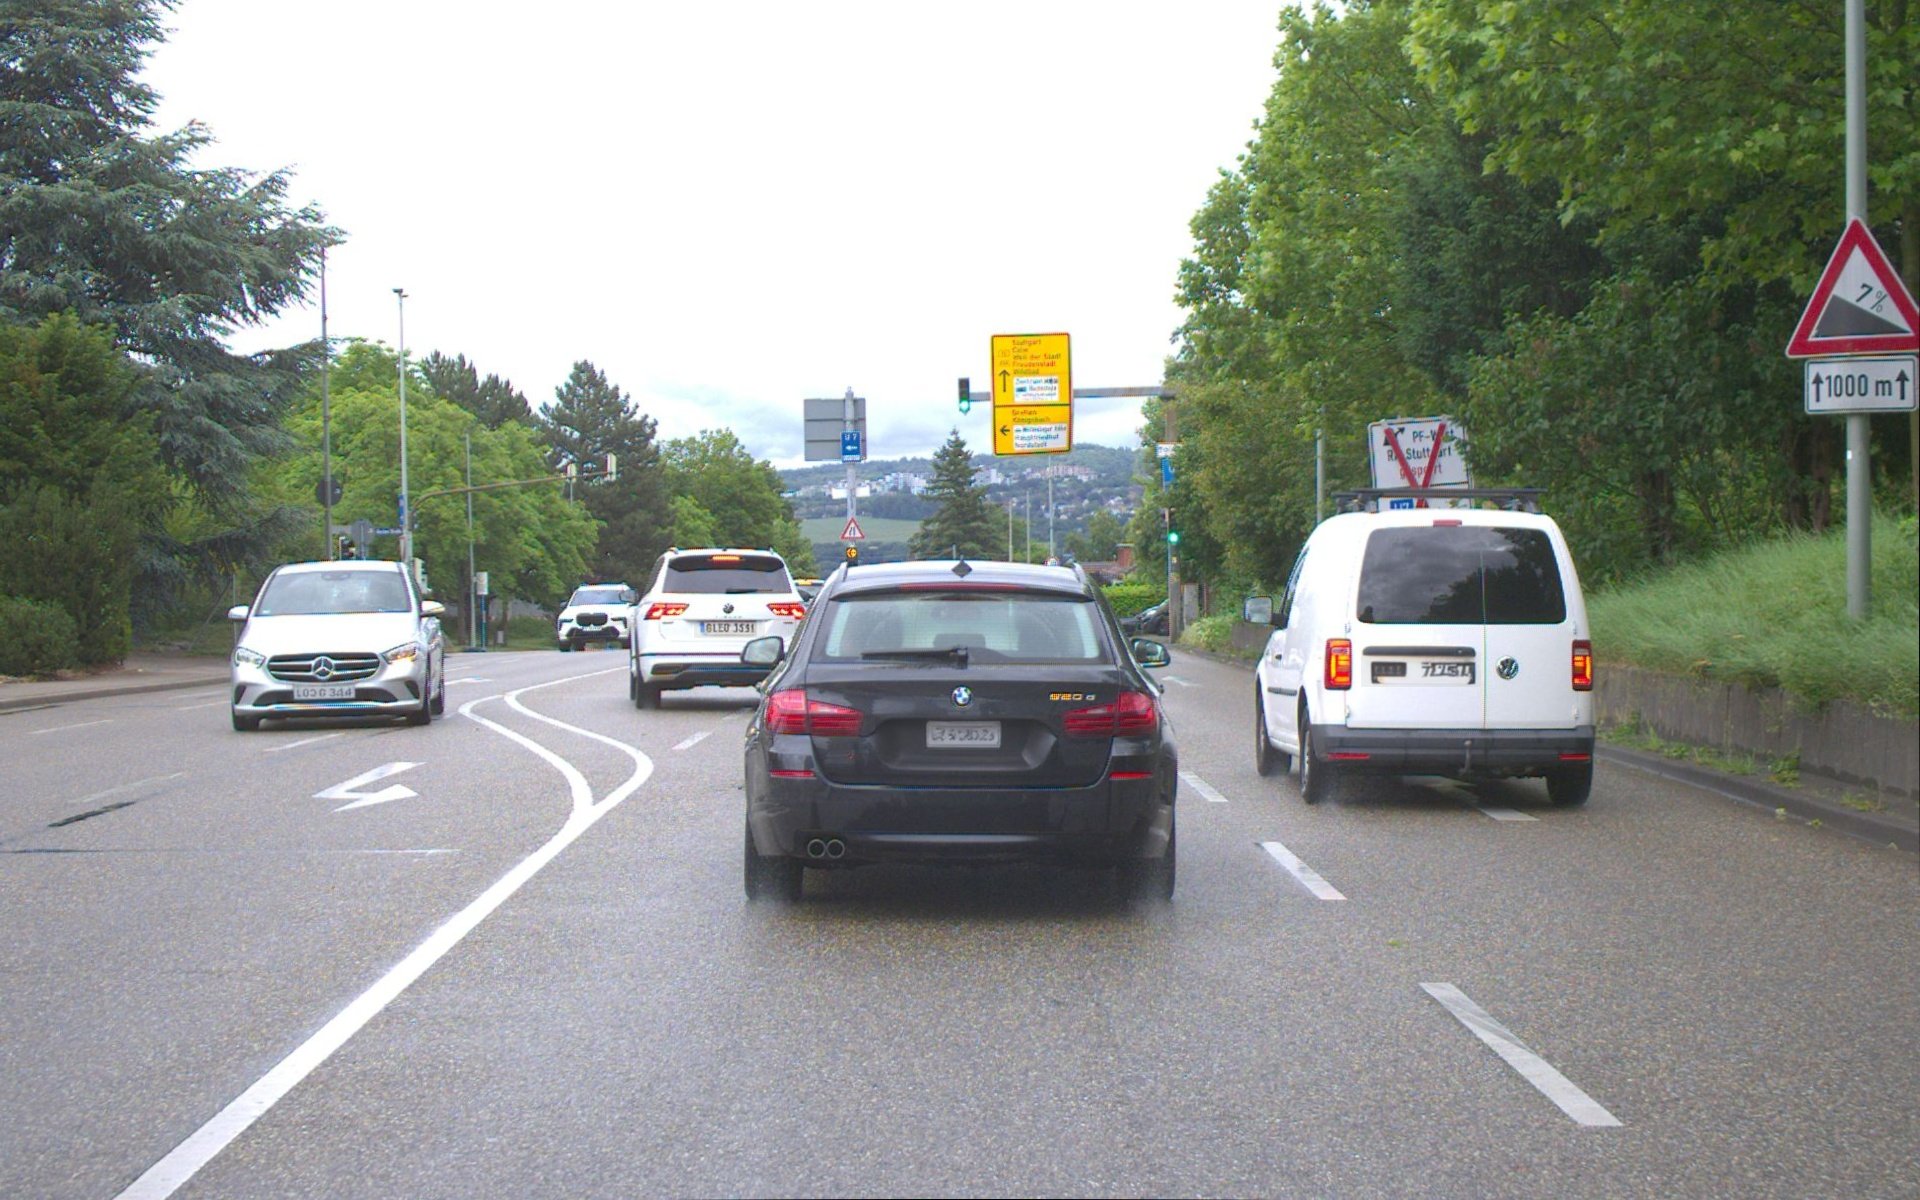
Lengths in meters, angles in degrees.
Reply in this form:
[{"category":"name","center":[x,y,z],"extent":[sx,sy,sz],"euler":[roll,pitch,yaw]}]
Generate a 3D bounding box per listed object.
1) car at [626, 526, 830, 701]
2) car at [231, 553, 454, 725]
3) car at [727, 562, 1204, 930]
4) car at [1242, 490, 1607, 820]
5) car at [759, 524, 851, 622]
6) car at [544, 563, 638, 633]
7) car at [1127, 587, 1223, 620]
[{"category":"car","center":[-2.405,0.093,36.507],"extent":[1.868,1.668,4.001],"euler":[0,3,0]},{"category":"car","center":[-5.826,0.330,32.833],"extent":[1.749,1.503,4.303],"euler":[-1,1,-6]},{"category":"car","center":[0.037,0.558,15.688],"extent":[1.899,1.436,4.000],"euler":[0,1,0]},{"category":"car","center":[2.856,0.262,21.917],"extent":[1.764,1.871,3.806],"euler":[0,3,-1]},{"category":"car","center":[-3.368,-0.604,75.385],"extent":[1.810,2.081,3.850],"euler":[0,1,0]},{"category":"car","center":[-10.148,-0.065,94.844],"extent":[1.917,1.757,5.143],"euler":[-3,0,1]},{"category":"car","center":[8.989,0.155,143.789],"extent":[3.987,1.372,1.585],"euler":[0,0,4]}]
